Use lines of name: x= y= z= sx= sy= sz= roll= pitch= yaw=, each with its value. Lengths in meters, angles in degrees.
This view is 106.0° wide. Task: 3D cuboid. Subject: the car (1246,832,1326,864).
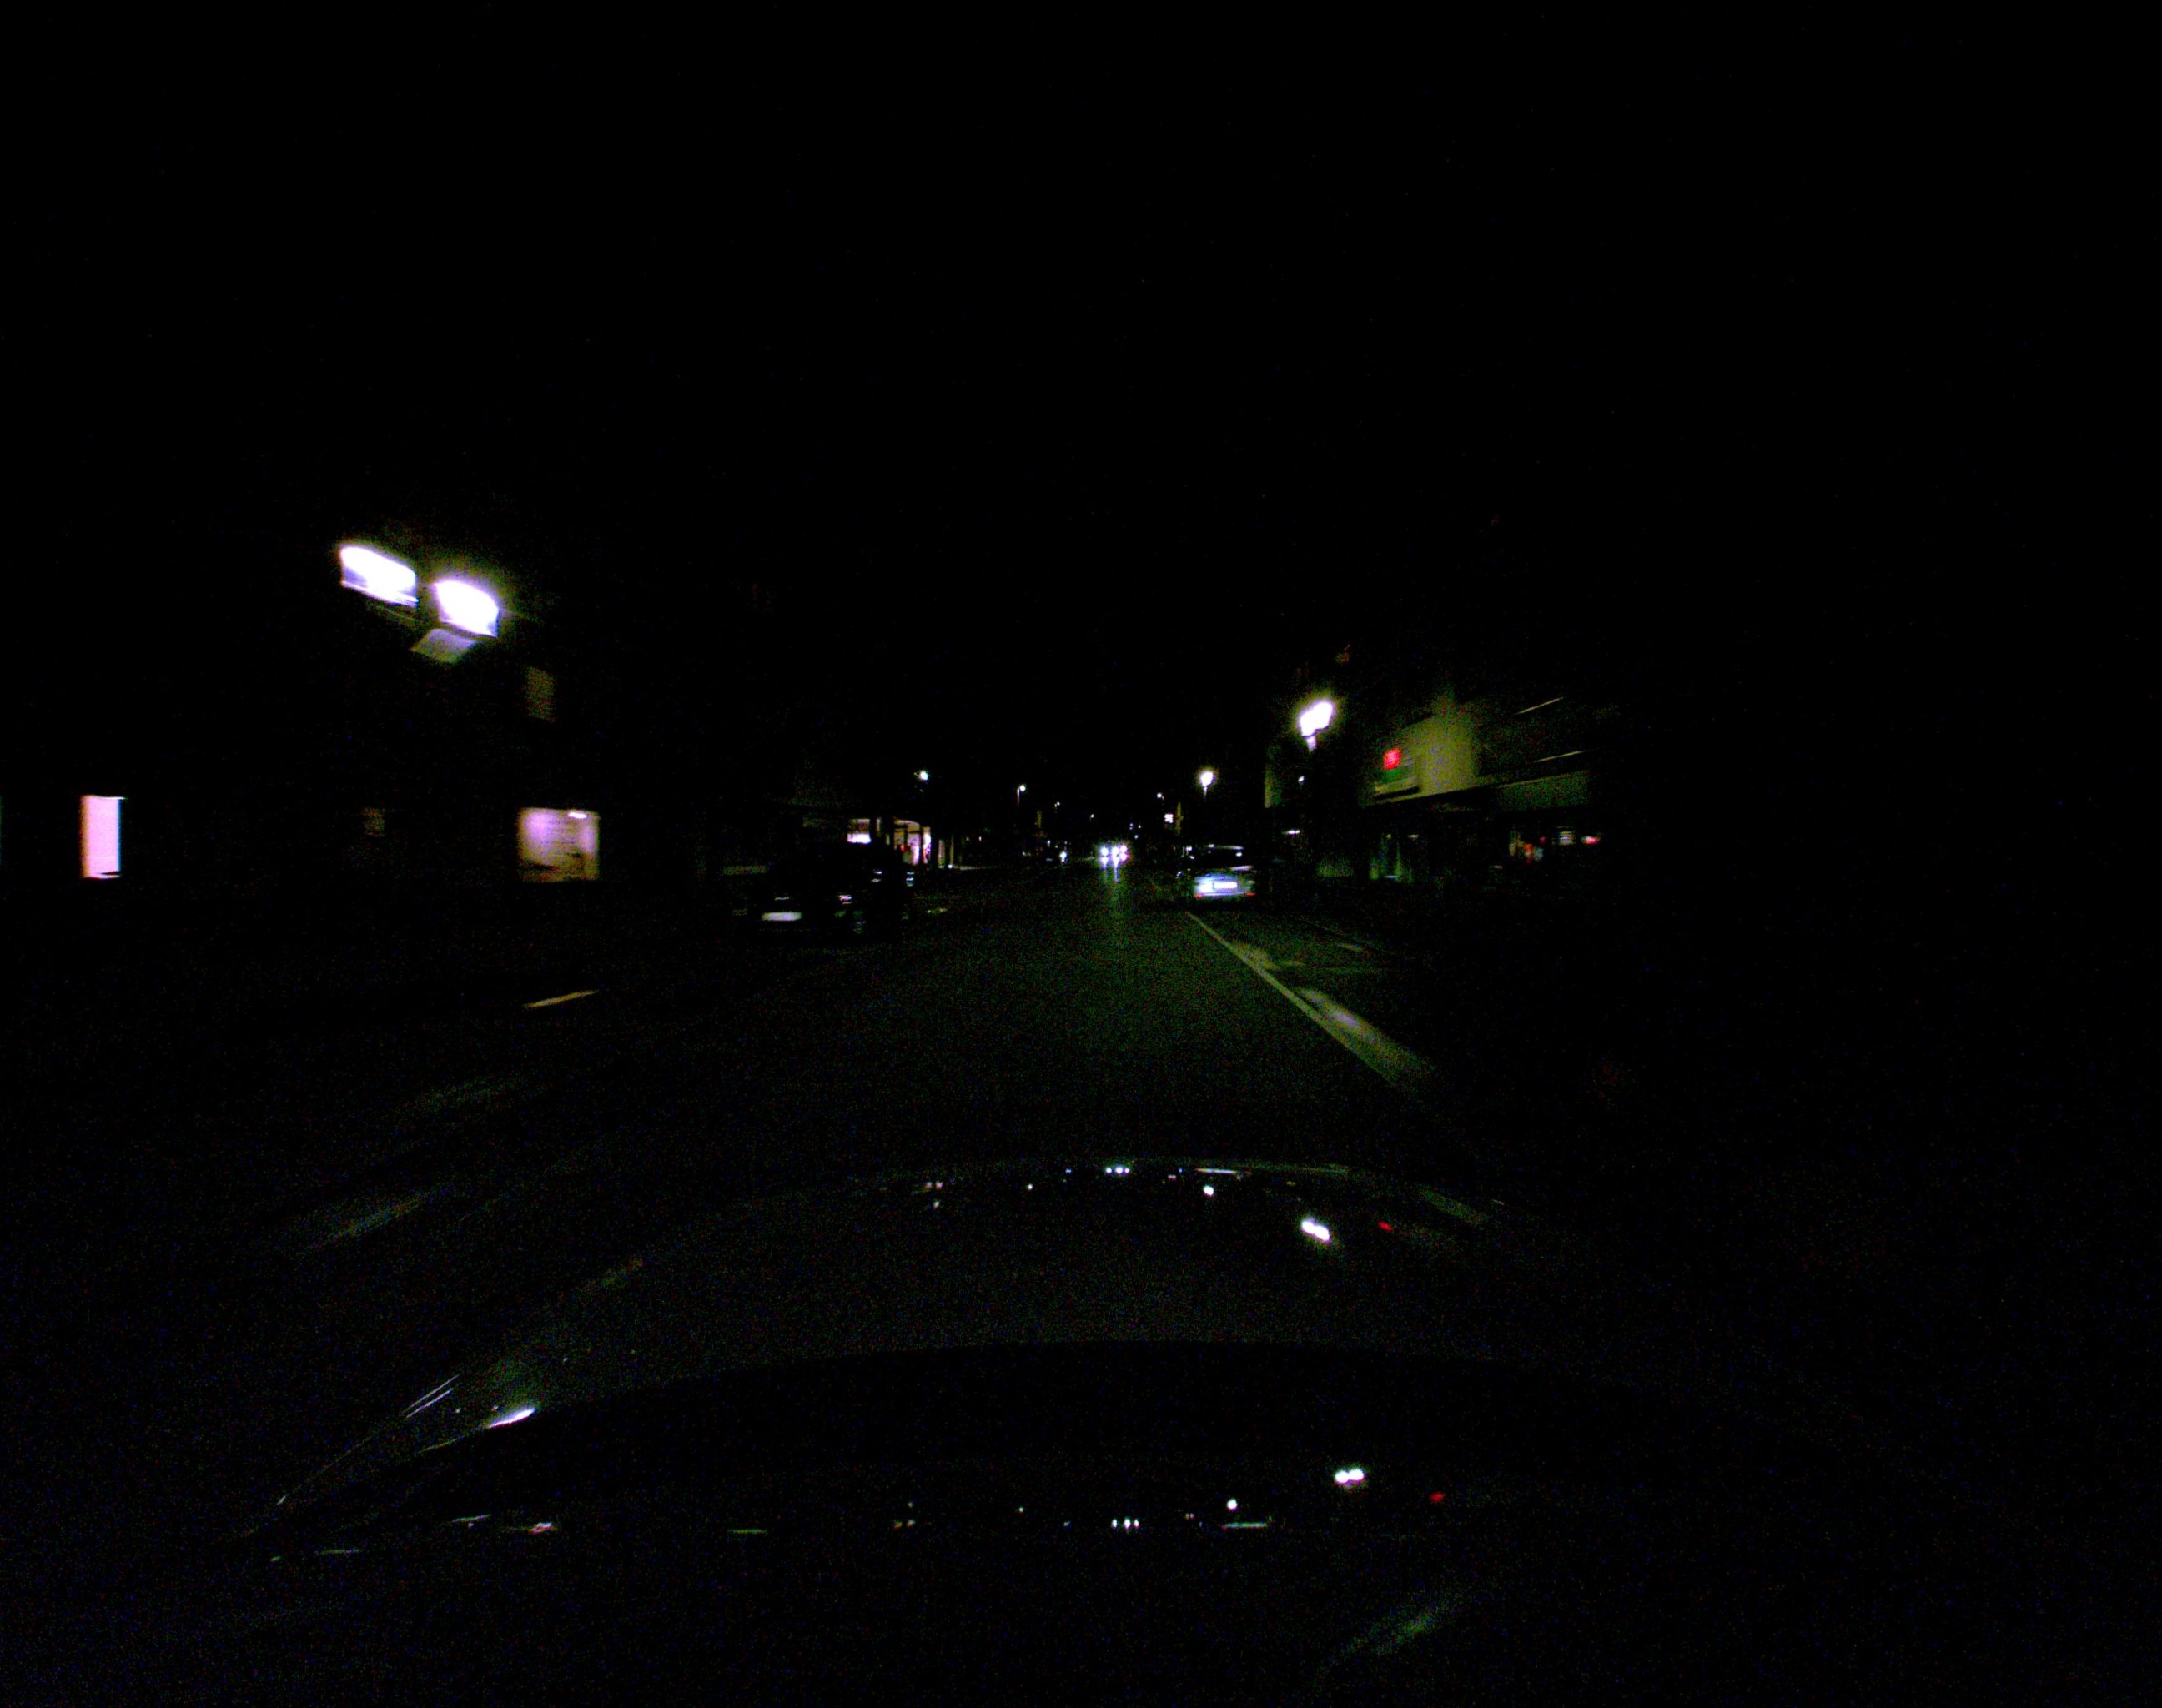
car: x=11.433 y=-0.326 z=45.602 sx=3.975 sy=1.476 sz=1.751 roll=-4 pitch=-1 yaw=-1

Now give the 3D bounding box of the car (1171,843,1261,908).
car: x=3.264 y=0.488 z=20.312 sx=1.669 sy=1.459 sz=3.676 roll=-1 pitch=0 yaw=1

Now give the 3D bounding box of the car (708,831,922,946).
car: x=-4.509 y=0.517 z=14.805 sx=2.009 sy=1.691 sz=5.006 roll=1 pitch=0 yaw=3

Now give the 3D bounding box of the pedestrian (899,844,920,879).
pedestrian: x=-8.163 y=0.359 z=38.863 sx=0.766 sy=1.656 sz=0.782 roll=-1 pitch=2 yaw=3

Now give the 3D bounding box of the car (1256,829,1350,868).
car: x=10.845 y=-0.282 z=39.982 sx=4.065 sy=1.581 sz=1.816 roll=-4 pitch=1 yaw=-1

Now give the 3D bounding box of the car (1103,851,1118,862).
car: x=3.783 y=0.297 z=103.481 sx=1.716 sy=1.247 sz=4.241 roll=-1 pitch=0 yaw=4

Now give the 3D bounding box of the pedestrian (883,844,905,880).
pedestrian: x=-8.938 y=0.364 z=38.906 sx=0.766 sy=1.656 sz=0.818 roll=-1 pitch=2 yaw=3

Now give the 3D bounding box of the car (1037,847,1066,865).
car: x=-2.460 y=0.141 z=68.778 sx=1.906 sy=1.370 sz=4.462 roll=-1 pitch=1 yaw=4

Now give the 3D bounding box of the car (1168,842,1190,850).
car: x=18.624 y=-1.490 z=154.725 sx=3.964 sy=1.416 sz=2.004 roll=-1 pitch=-2 yaw=8

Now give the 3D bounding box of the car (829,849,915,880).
car: x=-11.550 y=0.584 z=45.211 sx=4.147 sy=1.438 sz=1.844 roll=-4 pitch=0 yaw=5

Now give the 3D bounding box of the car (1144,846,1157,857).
car: x=10.421 y=-0.405 z=121.996 sx=1.768 sy=1.652 sz=4.368 roll=-1 pitch=0 yaw=4

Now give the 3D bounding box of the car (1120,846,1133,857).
car: x=6.718 y=-0.409 z=119.978 sx=1.767 sy=1.652 sz=4.369 roll=-1 pitch=0 yaw=4
